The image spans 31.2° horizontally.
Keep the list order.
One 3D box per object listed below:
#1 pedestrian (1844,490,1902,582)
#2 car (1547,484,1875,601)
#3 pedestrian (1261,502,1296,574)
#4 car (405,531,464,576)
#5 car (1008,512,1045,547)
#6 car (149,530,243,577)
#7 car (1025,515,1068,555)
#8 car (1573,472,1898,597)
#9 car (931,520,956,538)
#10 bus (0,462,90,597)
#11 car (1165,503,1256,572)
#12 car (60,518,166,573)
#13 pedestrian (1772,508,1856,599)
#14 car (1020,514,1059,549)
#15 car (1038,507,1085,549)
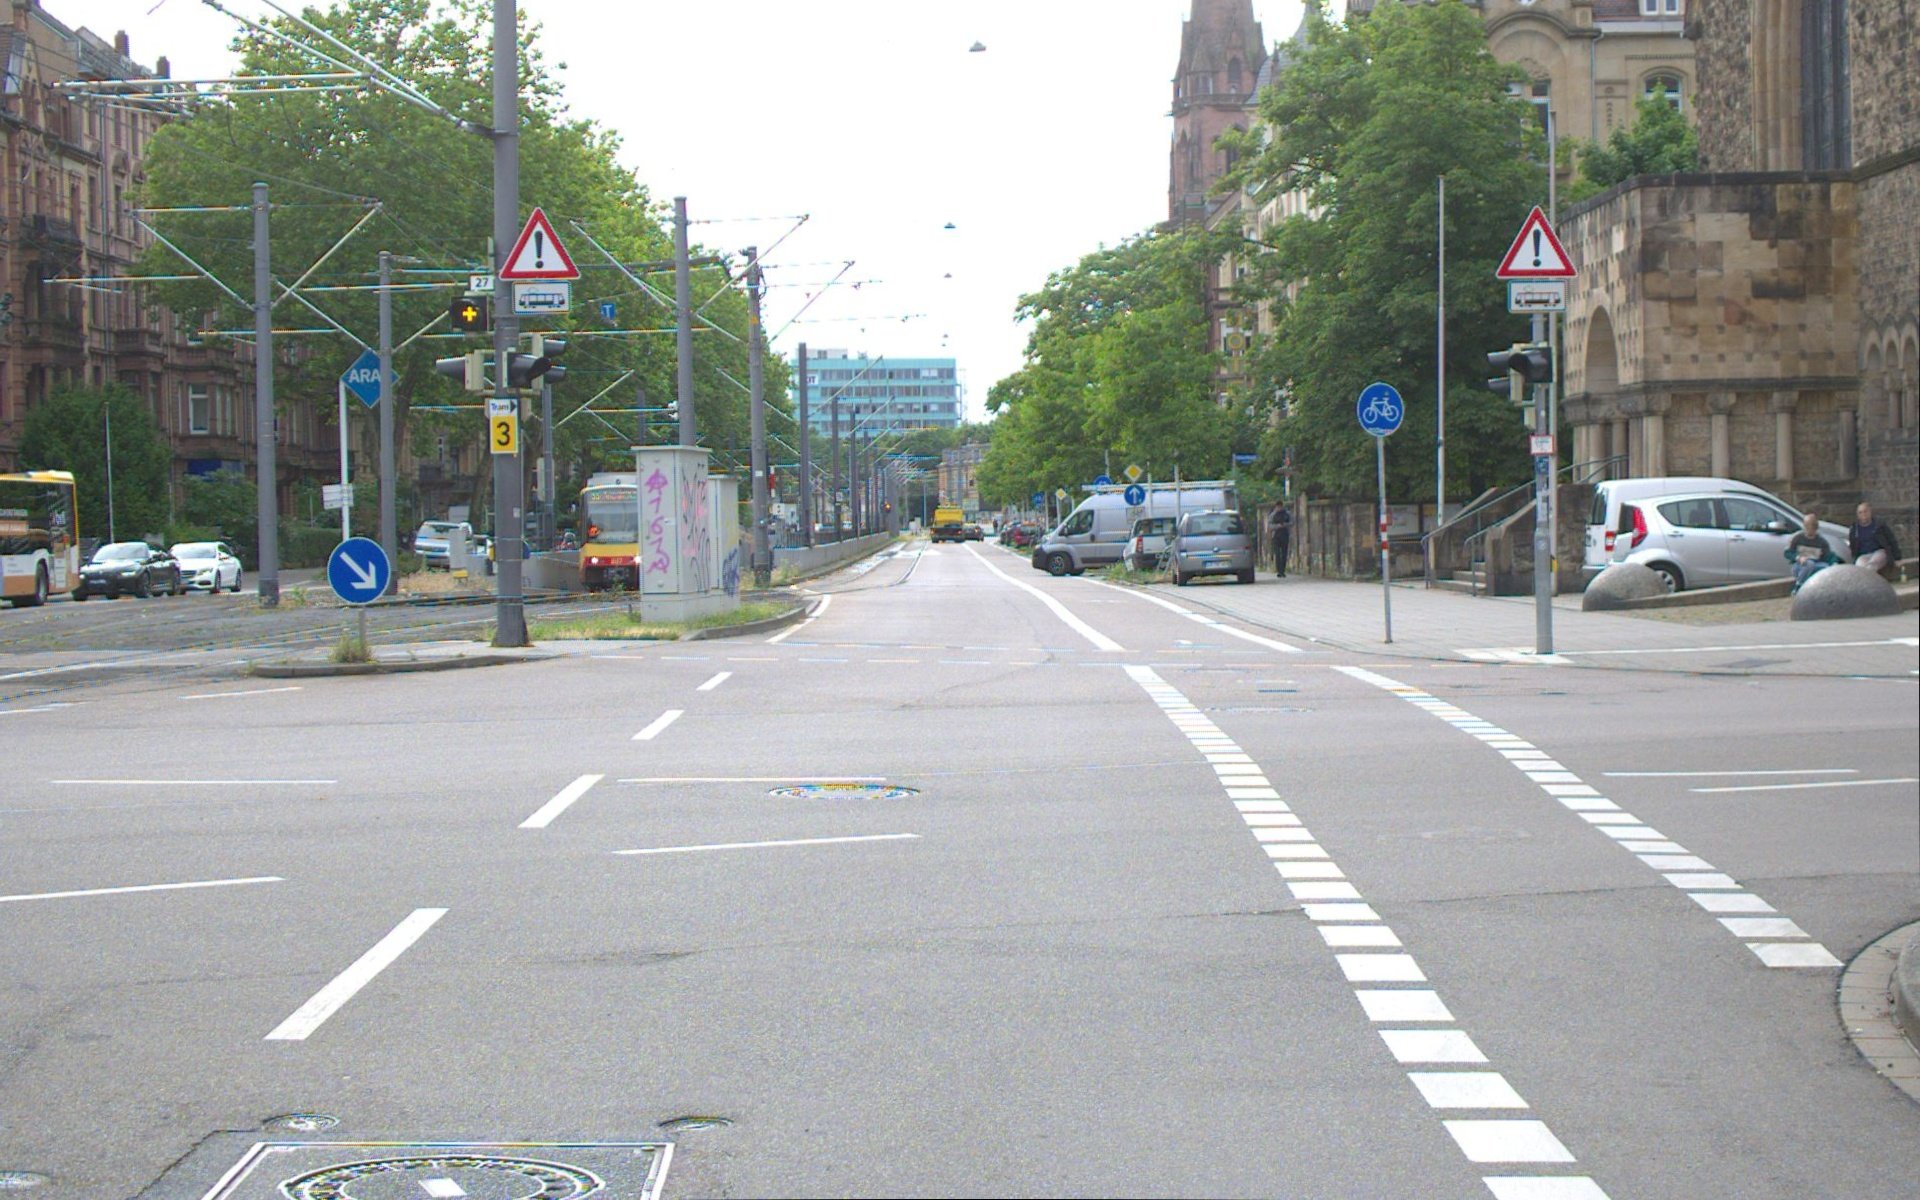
[{"bbox_3d":[12.305,-0.862,46.354,0.737,1.224,1.062,1,1,15],"label":"pedestrian"},{"bbox_3d":[10.806,-0.833,49.632,4.348,1.630,1.663,0,1,0],"label":"car"},{"bbox_3d":[7.323,-1.439,79.060,0.776,1.641,0.798,1,1,6],"label":"pedestrian"},{"bbox_3d":[-20.507,-1.815,134.315,1.702,1.706,3.891,0,1,0],"label":"car"},{"bbox_3d":[3.924,-4.180,203.092,1.993,2.007,4.001,0,1,-1],"label":"car"},{"bbox_3d":[-20.960,-1.289,94.475,1.702,1.217,3.891,0,1,0],"label":"car"},{"bbox_3d":[4.431,-3.336,175.693,1.993,2.007,4.001,0,1,-1],"label":"car"},{"bbox_3d":[11.926,-1.014,53.028,4.610,1.875,1.663,0,1,0],"label":"car"},{"bbox_3d":[-1.248,-5.398,262.377,1.804,1.336,4.001,-1,1,-1],"label":"car"},{"bbox_3d":[-21.774,-1.518,73.254,3.281,2.846,12.381,0,1,0],"label":"bus"},{"bbox_3d":[5.445,-1.375,75.058,1.702,1.454,3.891,0,1,0],"label":"car"},{"bbox_3d":[-21.458,-1.395,87.249,1.702,1.354,3.891,0,1,0],"label":"car"},{"bbox_3d":[11.392,-0.631,45.915,0.736,1.187,1.493,0,1,0],"label":"pedestrian"},{"bbox_3d":[4.517,-3.914,195.625,1.993,1.919,4.001,0,1,-1],"label":"car"},{"bbox_3d":[4.623,-3.311,157.223,1.993,1.875,4.000,-1,2,0],"label":"car"}]
